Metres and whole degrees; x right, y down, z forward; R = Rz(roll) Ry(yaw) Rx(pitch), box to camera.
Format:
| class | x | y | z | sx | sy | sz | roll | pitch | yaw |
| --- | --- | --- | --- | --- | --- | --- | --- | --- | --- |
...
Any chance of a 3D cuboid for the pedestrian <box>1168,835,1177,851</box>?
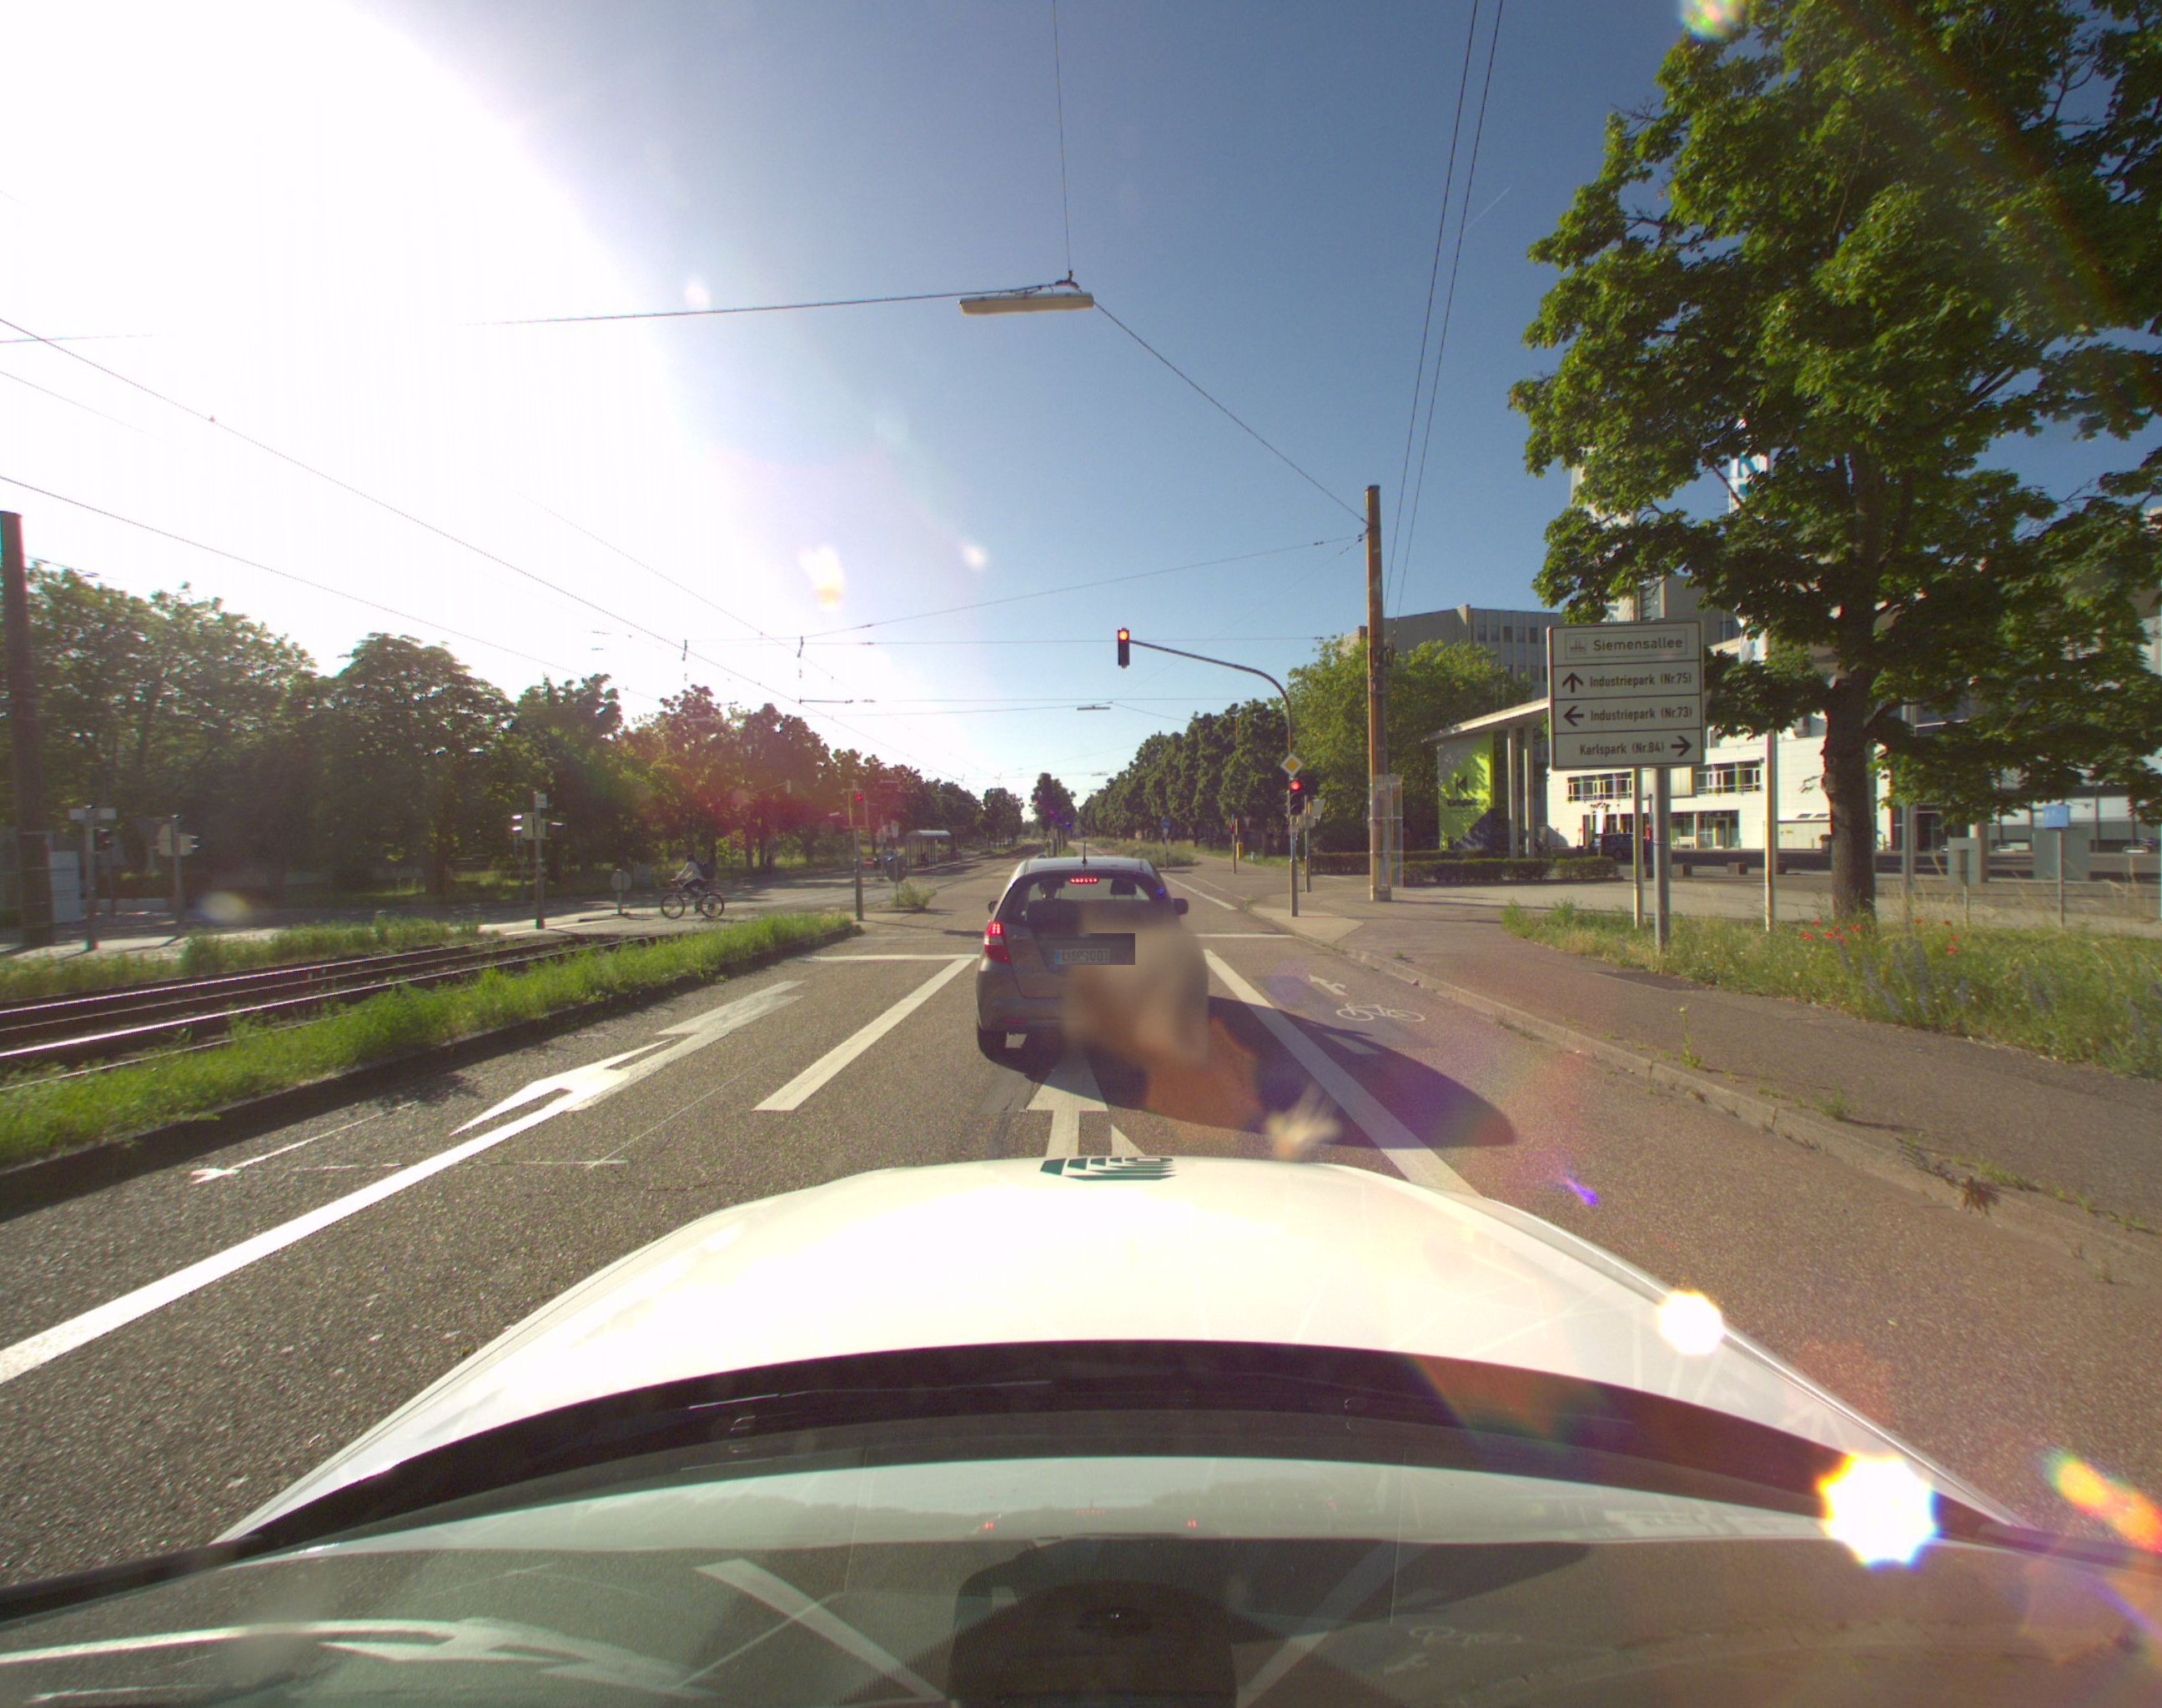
| class | x | y | z | sx | sy | sz | roll | pitch | yaw |
| --- | --- | --- | --- | --- | --- | --- | --- | --- | --- |
| pedestrian | 10.836 | -1.350 | 96.676 | 0.880 | 1.884 | 0.875 | -2 | 1 | -2 |

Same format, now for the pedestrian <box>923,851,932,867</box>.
| class | x | y | z | sx | sy | sz | roll | pitch | yaw |
| --- | --- | --- | --- | --- | --- | --- | --- | --- | --- |
| pedestrian | -12.445 | 0.381 | 65.996 | 0.562 | 1.257 | 0.581 | -4 | 0 | 1 |

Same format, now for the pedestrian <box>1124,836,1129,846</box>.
| class | x | y | z | sx | sy | sz | roll | pitch | yaw |
| --- | --- | --- | --- | --- | --- | --- | --- | --- | --- |
| pedestrian | 8.004 | -2.340 | 142.471 | 0.723 | 1.690 | 0.820 | -1 | -1 | -1 |

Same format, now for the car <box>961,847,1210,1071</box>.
| class | x | y | z | sx | sy | sz | roll | pitch | yaw |
| --- | --- | --- | --- | --- | --- | --- | --- | --- | --- |
| car | 0.089 | 0.726 | 7.462 | 1.694 | 1.524 | 3.711 | -1 | 0 | 2 |

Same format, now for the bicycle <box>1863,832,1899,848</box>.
| class | x | y | z | sx | sy | sz | roll | pitch | yaw |
| --- | --- | --- | --- | --- | --- | --- | --- | --- | --- |
| bicycle | 52.271 | -0.890 | 53.235 | 0.565 | 1.004 | 1.614 | -2 | 1 | -13 |

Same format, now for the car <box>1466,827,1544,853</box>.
| class | x | y | z | sx | sy | sz | roll | pitch | yaw |
| --- | --- | --- | --- | --- | --- | --- | --- | --- | --- |
| car | 31.108 | -1.042 | 59.762 | 4.888 | 1.757 | 2.082 | -2 | 1 | -14 |

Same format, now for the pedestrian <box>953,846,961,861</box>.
| class | x | y | z | sx | sy | sz | roll | pitch | yaw |
| --- | --- | --- | --- | --- | --- | --- | --- | --- | --- |
| pedestrian | -12.267 | -0.045 | 80.565 | 0.542 | 1.447 | 0.559 | -2 | 0 | 1 |

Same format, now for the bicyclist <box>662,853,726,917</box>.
| class | x | y | z | sx | sy | sz | roll | pitch | yaw |
| --- | --- | --- | --- | --- | --- | --- | --- | --- | --- |
| bicyclist | -10.000 | 0.778 | 21.067 | 1.228 | 1.593 | 0.805 | -1 | 0 | 0 |

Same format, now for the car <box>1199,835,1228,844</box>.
| class | x | y | z | sx | sy | sz | roll | pitch | yaw |
| --- | --- | --- | --- | --- | --- | --- | --- | --- | --- |
| car | 23.436 | -2.539 | 144.242 | 4.623 | 1.555 | 1.997 | -2 | 1 | -5 |

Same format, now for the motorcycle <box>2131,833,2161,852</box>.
| class | x | y | z | sx | sy | sz | roll | pitch | yaw |
| --- | --- | --- | --- | --- | --- | --- | --- | --- | --- |
| motorcycle | 54.663 | -0.579 | 41.249 | 0.652 | 0.947 | 1.727 | -2 | 1 | -13 |

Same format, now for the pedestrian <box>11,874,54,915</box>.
| class | x | y | z | sx | sy | sz | roll | pitch | yaw |
| --- | --- | --- | --- | --- | --- | --- | --- | --- | --- |
| pedestrian | -47.298 | 1.828 | 36.748 | 0.943 | 1.787 | 0.824 | -2 | 1 | 15 |

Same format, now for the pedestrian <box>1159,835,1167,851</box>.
| class | x | y | z | sx | sy | sz | roll | pitch | yaw |
| --- | --- | --- | --- | --- | --- | --- | --- | --- | --- |
| pedestrian | 9.740 | -1.338 | 96.672 | 0.880 | 1.884 | 0.875 | -2 | 1 | -2 |

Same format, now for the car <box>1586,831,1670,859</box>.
| class | x | y | z | sx | sy | sz | roll | pitch | yaw |
| --- | --- | --- | --- | --- | --- | --- | --- | --- | --- |
| car | 33.321 | -0.562 | 49.632 | 3.984 | 1.578 | 1.949 | -1 | 0 | -8 |

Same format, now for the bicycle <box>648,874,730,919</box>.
| class | x | y | z | sx | sy | sz | roll | pitch | yaw |
| --- | --- | --- | --- | --- | --- | --- | --- | --- | --- |
| bicycle | -10.102 | 1.096 | 21.026 | 1.769 | 1.102 | 0.699 | -1 | 0 | 0 |

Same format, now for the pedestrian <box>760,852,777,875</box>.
| class | x | y | z | sx | sy | sz | roll | pitch | yaw |
| --- | --- | --- | --- | --- | --- | --- | --- | --- | --- |
| pedestrian | -24.210 | 0.752 | 63.102 | 0.751 | 1.734 | 0.943 | -1 | 1 | 30 |

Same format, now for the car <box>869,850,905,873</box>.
| class | x | y | z | sx | sy | sz | roll | pitch | yaw |
| --- | --- | --- | --- | --- | --- | --- | --- | --- | --- |
| car | -17.814 | 0.685 | 75.002 | 2.087 | 1.810 | 4.792 | -3 | 1 | 0 |

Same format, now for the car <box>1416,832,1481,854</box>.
| class | x | y | z | sx | sy | sz | roll | pitch | yaw |
| --- | --- | --- | --- | --- | --- | --- | --- | --- | --- |
| car | 30.045 | -0.917 | 66.654 | 4.448 | 1.686 | 1.892 | -2 | 1 | -4 |
